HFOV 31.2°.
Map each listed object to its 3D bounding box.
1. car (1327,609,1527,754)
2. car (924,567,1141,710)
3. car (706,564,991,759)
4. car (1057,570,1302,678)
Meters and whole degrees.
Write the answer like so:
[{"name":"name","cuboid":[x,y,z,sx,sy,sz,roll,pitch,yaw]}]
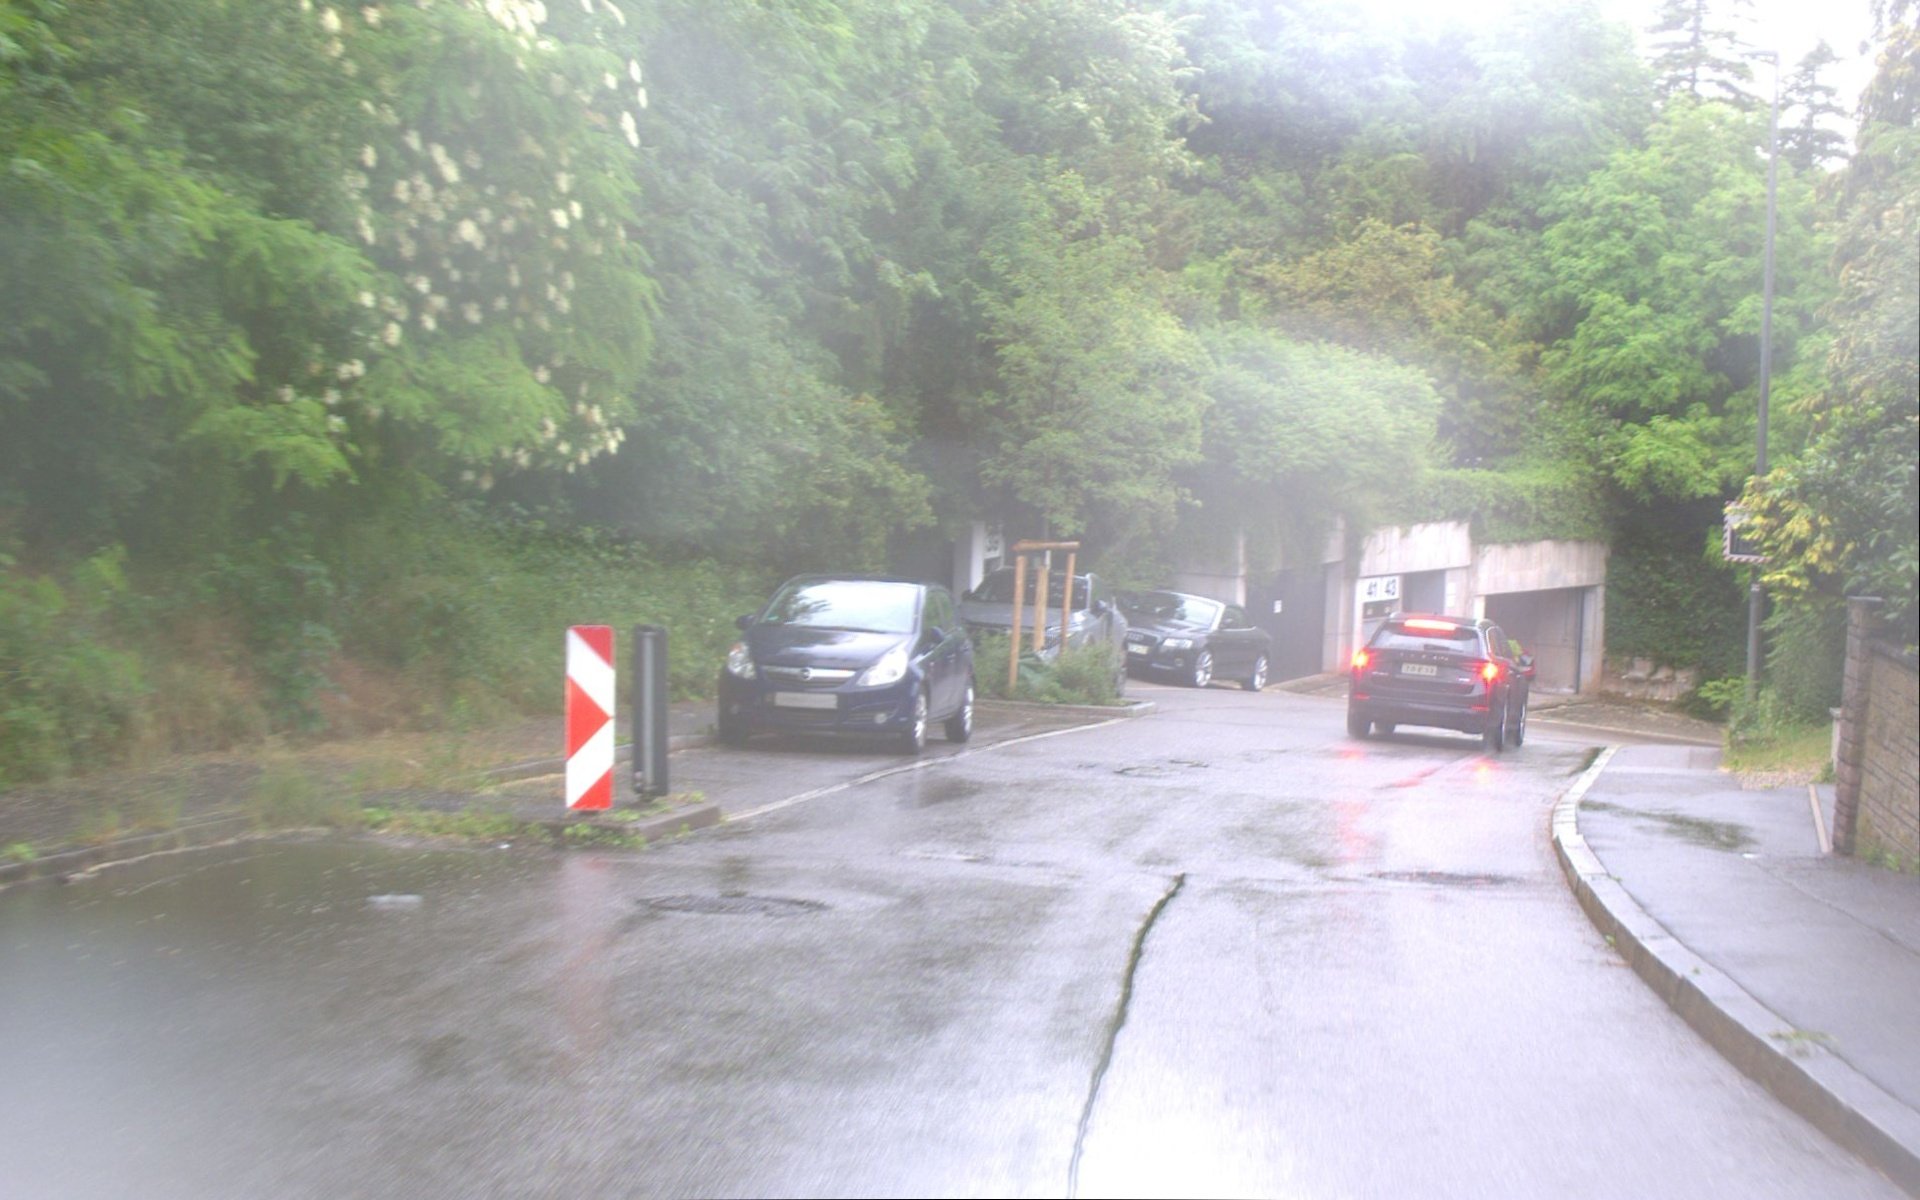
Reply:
[{"name":"car","cuboid":[5.431,0.896,39.607,1.869,1.507,4.090,2,0,13]},{"name":"car","cuboid":[0.981,0.473,43.757,1.994,1.635,3.998,3,0,12]},{"name":"car","cuboid":[-0.882,0.471,29.525,1.700,1.466,3.999,3,1,8]},{"name":"car","cuboid":[3.438,0.391,53.076,1.997,1.503,4.563,3,0,28]}]
